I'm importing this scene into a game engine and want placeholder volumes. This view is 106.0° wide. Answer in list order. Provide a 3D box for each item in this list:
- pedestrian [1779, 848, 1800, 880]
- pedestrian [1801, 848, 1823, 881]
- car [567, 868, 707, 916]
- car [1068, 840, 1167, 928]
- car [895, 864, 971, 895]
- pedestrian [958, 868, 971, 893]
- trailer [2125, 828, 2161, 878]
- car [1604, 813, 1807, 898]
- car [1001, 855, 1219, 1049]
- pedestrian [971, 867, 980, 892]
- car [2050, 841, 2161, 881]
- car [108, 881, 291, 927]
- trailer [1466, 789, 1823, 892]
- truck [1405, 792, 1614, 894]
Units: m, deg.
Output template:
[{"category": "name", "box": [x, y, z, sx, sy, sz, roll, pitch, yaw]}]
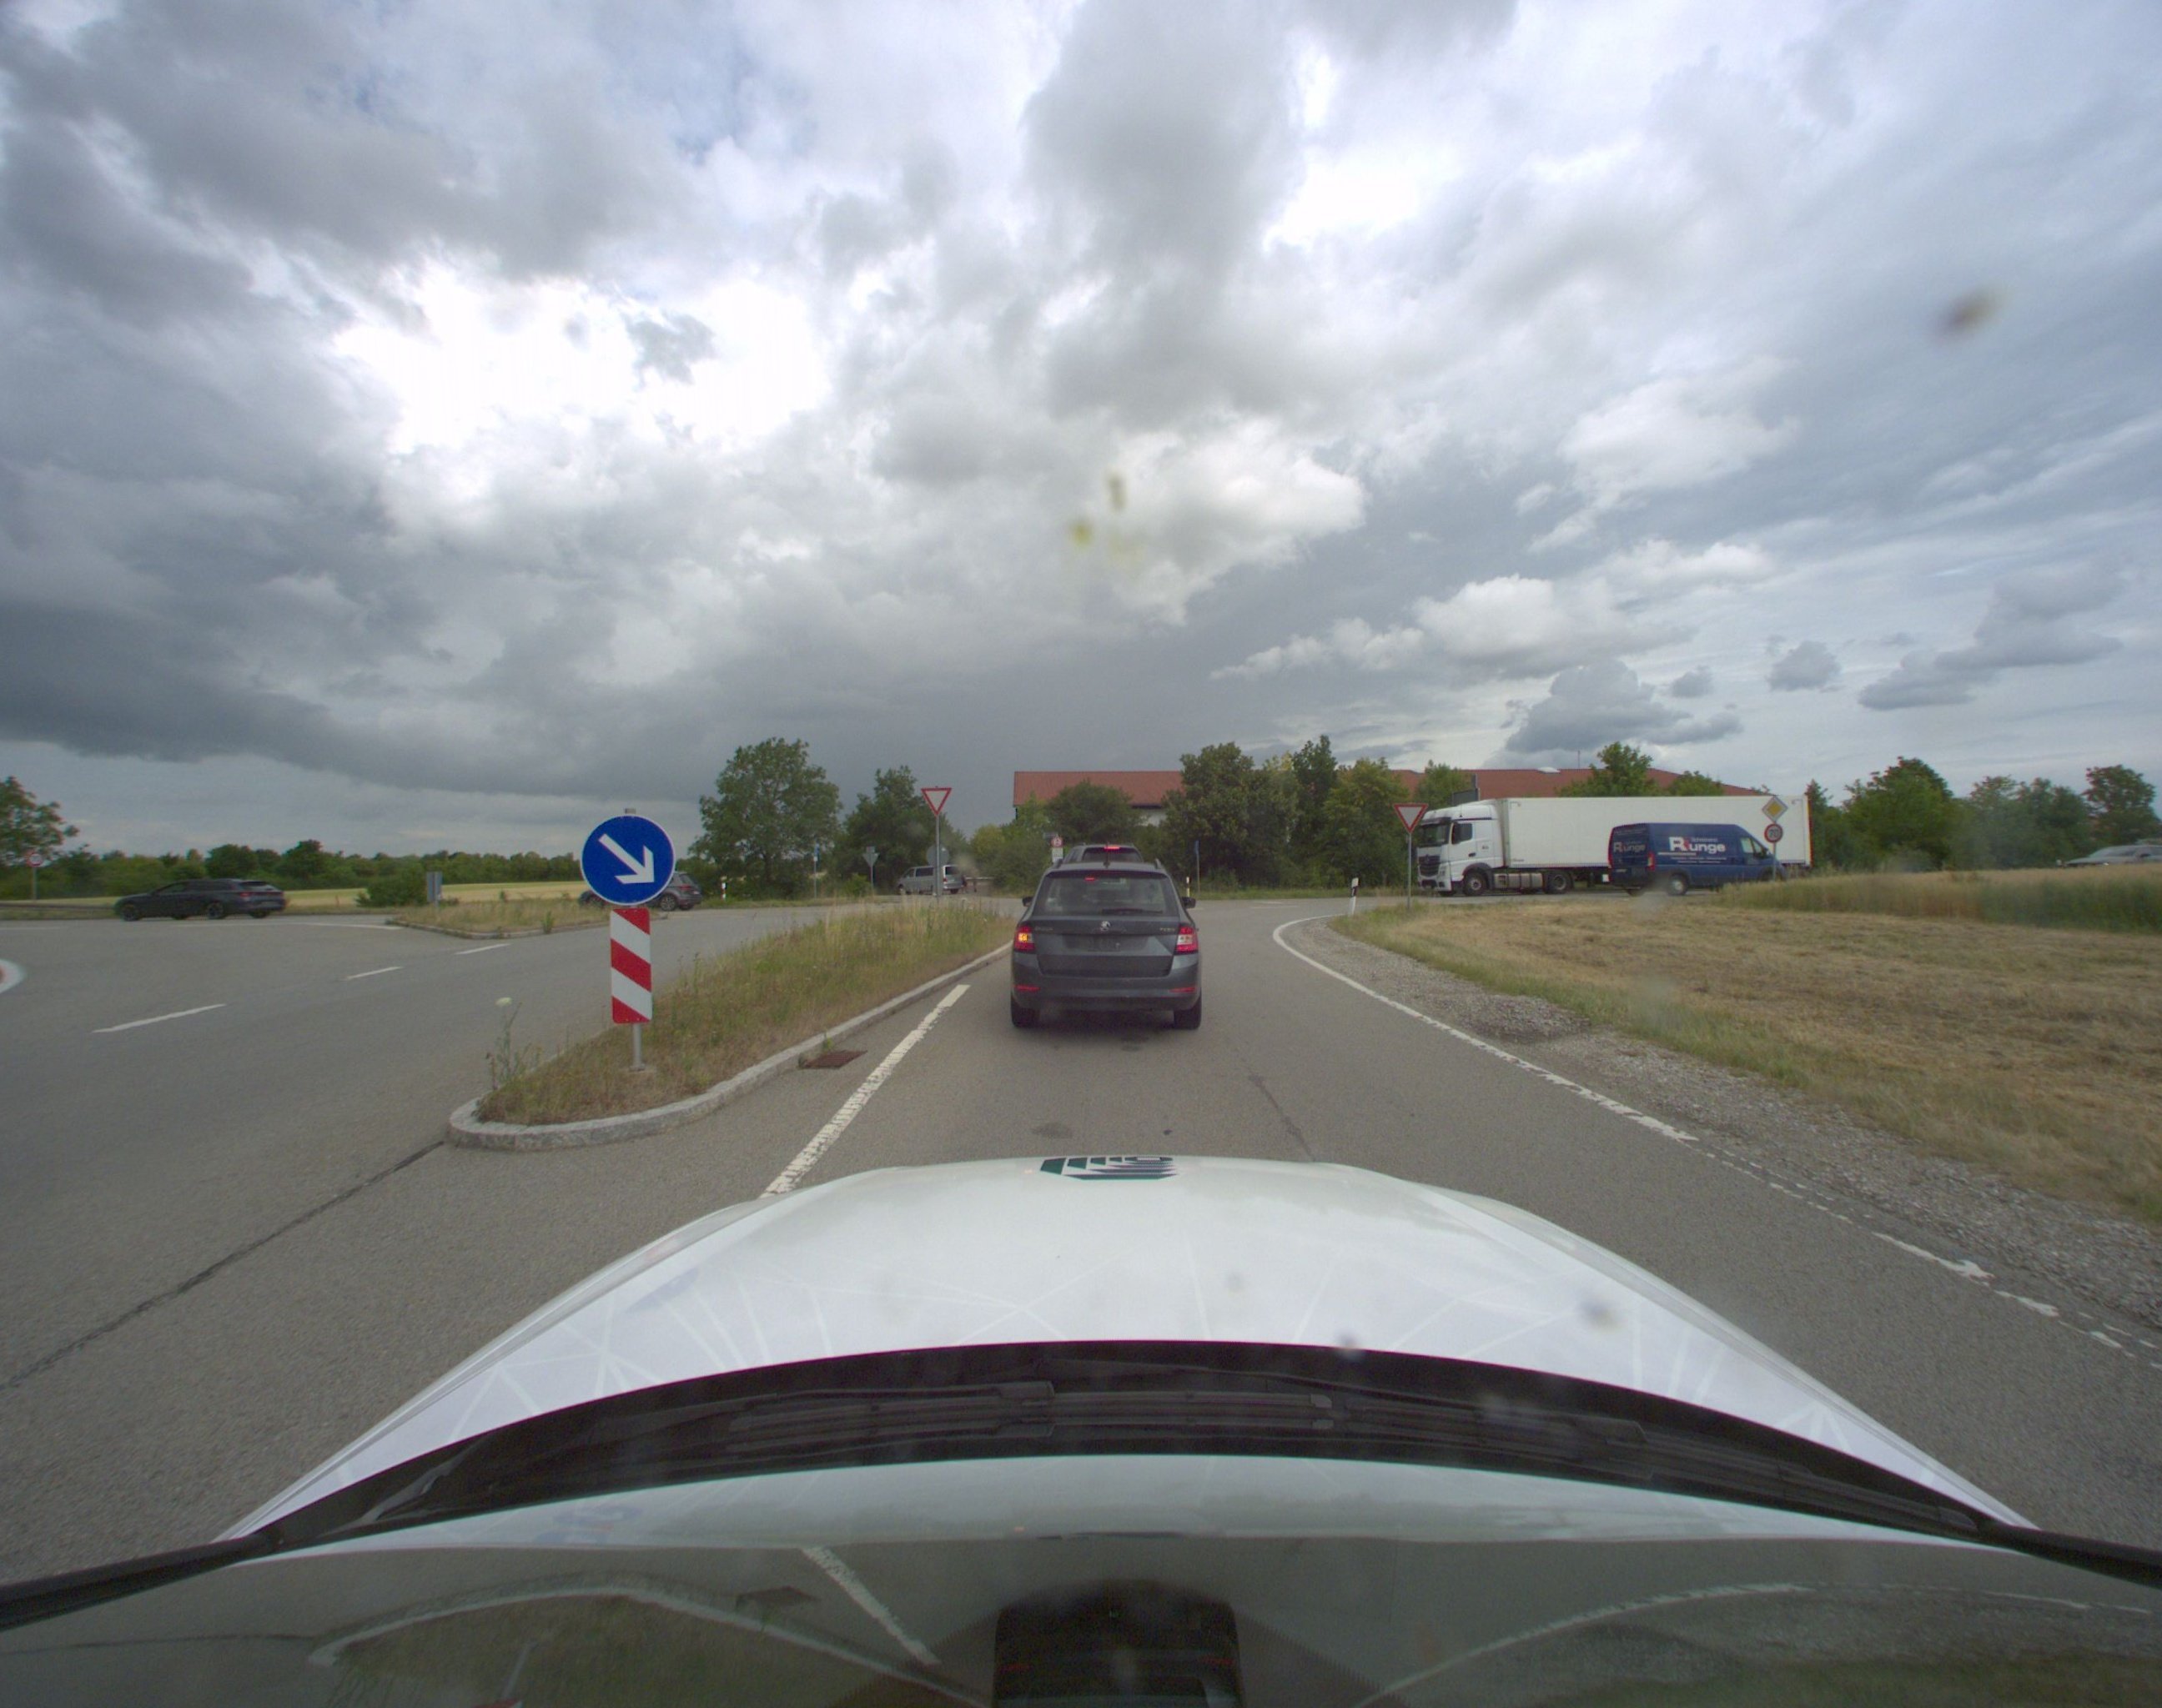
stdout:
[{"category": "pedestrian", "box": [37.875, 0.518, 43.559, 0.626, 1.682, 0.528, -2, 0, -9]}, {"category": "pedestrian", "box": [38.051, 0.539, 42.381, 0.626, 1.682, 0.528, -2, 0, -9]}, {"category": "car", "box": [-17.024, 1.429, 31.408, 4.206, 1.601, 1.995, -2, 0, -7]}, {"category": "car", "box": [0.720, 0.673, 19.043, 1.988, 1.774, 4.641, -1, -1, -1]}, {"category": "car", "box": [-10.176, 1.739, 55.881, 4.851, 2.013, 2.357, -2, 0, 35]}, {"category": "pedestrian", "box": [-7.906, 1.803, 55.398, 0.523, 1.726, 0.646, -2, 0, 34]}, {"category": "trailer", "box": [51.205, -0.110, 37.155, 4.377, 2.293, 2.411, -1, -2, -7]}, {"category": "car", "box": [21.443, 0.045, 28.102, 5.542, 2.639, 2.146, -2, 0, -5]}, {"category": "car", "box": [0.224, 0.754, 8.092, 1.671, 1.462, 3.707, 0, 0, 0]}, {"category": "pedestrian", "box": [-7.414, 1.798, 57.242, 0.583, 1.682, 0.564, -2, 0, -9]}, {"category": "car", "box": [46.802, 0.311, 36.620, 4.460, 1.682, 1.995, -1, -2, -7]}, {"category": "car", "box": [-31.013, 1.742, 28.762, 4.335, 1.345, 1.679, -2, 0, -6]}, {"category": "trailer", "box": [24.124, -0.536, 35.182, 13.819, 4.015, 3.123, -1, -2, -5]}, {"category": "truck", "box": [18.066, -0.418, 34.674, 7.271, 4.015, 3.123, -1, -2, -5]}]
